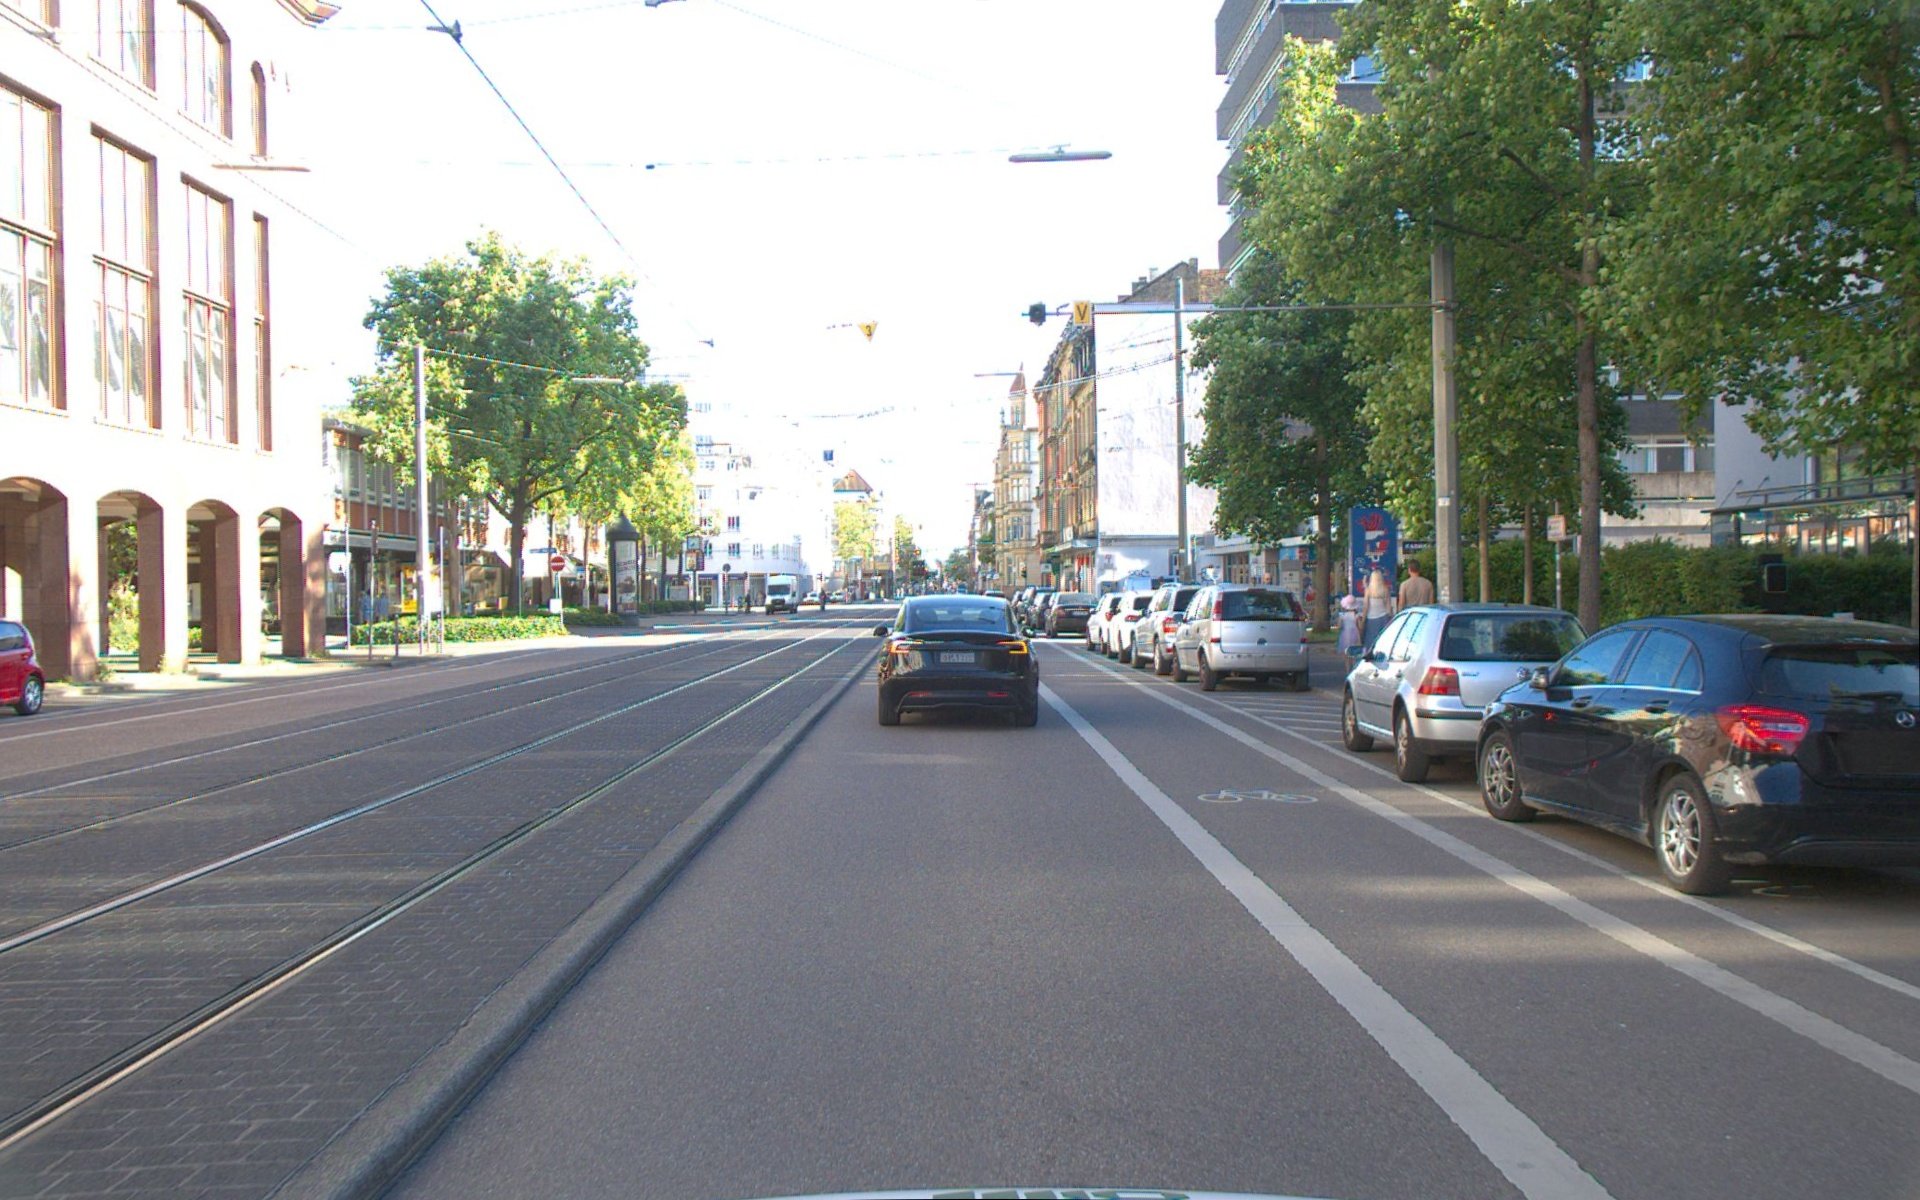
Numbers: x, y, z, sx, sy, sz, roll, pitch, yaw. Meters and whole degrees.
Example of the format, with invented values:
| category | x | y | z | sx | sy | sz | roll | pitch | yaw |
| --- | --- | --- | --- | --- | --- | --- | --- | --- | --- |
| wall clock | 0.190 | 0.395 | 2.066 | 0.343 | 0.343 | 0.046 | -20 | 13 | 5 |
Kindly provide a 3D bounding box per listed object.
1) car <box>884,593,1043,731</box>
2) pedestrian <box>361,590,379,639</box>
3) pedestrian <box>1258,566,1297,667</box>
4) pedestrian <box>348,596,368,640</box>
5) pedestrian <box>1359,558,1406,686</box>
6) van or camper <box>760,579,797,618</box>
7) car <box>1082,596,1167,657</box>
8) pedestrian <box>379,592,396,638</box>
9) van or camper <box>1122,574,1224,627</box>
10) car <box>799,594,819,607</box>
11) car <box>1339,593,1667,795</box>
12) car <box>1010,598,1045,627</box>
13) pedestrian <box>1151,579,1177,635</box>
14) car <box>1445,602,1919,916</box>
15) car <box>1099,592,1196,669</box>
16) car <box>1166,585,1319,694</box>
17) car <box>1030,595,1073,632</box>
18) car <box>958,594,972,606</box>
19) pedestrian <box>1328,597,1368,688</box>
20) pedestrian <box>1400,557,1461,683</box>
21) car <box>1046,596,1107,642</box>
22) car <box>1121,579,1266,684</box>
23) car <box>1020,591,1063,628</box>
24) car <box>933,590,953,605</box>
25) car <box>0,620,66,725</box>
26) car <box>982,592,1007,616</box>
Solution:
| category | x | y | z | sx | sy | sz | roll | pitch | yaw |
| --- | --- | --- | --- | --- | --- | --- | --- | --- | --- |
| car | -0.018 | 0.651 | 19.447 | 1.685 | 1.430 | 3.709 | 0 | 1 | -2 |
| pedestrian | -23.410 | 0.572 | 65.609 | 0.580 | 1.905 | 0.537 | 1 | 0 | -10 |
| pedestrian | 5.921 | 0.310 | 30.871 | 0.598 | 1.839 | 0.603 | -2 | 0 | 4 |
| pedestrian | -25.678 | 0.772 | 70.521 | 0.614 | 1.879 | 0.672 | 1 | 0 | -4 |
| pedestrian | 6.751 | 0.344 | 26.434 | 0.455 | 1.987 | 0.748 | -4 | 0 | 4 |
| van or camper | -13.197 | -0.111 | 120.546 | 2.097 | 2.700 | 6.877 | -2 | 0 | -2 |
| car | 4.184 | 0.649 | 42.536 | 1.570 | 1.469 | 3.882 | 1 | 0 | -3 |
| pedestrian | -22.813 | 0.592 | 65.918 | 0.535 | 1.833 | 0.587 | 1 | 0 | -10 |
| van or camper | 10.027 | 0.040 | 78.140 | 4.547 | 2.173 | 1.988 | -4 | 0 | 3 |
| car | -17.169 | 0.021 | 188.561 | 1.953 | 1.392 | 3.999 | -2 | 0 | -1 |
| car | 4.514 | 0.688 | 14.423 | 1.713 | 1.468 | 4.317 | 0 | 1 | 4 |
| car | 3.593 | 0.642 | 88.572 | 1.680 | 1.498 | 3.719 | -1 | 0 | 0 |
| pedestrian | 6.914 | 0.228 | 56.012 | 0.707 | 1.843 | 0.889 | -1 | 0 | -1 |
| car | 4.545 | 0.770 | 10.033 | 1.766 | 1.460 | 4.322 | 1 | 0 | -2 |
| car | 4.161 | 0.636 | 37.219 | 1.511 | 1.597 | 4.441 | 0 | 0 | -2 |
| car | 4.517 | 0.578 | 27.006 | 1.679 | 1.618 | 4.064 | 0 | 1 | -2 |
| car | 3.693 | 0.543 | 67.409 | 1.431 | 1.457 | 3.812 | 0 | -1 | -1 |
| car | 0.672 | -0.011 | 222.011 | 1.808 | 1.620 | 4.000 | -2 | 0 | 0 |
| pedestrian | 6.200 | 0.676 | 26.463 | 0.446 | 1.422 | 0.423 | -5 | 0 | 4 |
| pedestrian | 7.468 | 0.308 | 26.264 | 0.655 | 1.930 | 0.748 | -4 | 0 | 4 |
| car | 3.915 | 0.624 | 55.985 | 1.676 | 1.482 | 4.549 | 0 | 0 | -1 |
| car | 4.389 | 0.535 | 31.805 | 1.887 | 1.866 | 4.709 | 0 | 1 | -3 |
| car | 3.808 | 0.459 | 77.804 | 1.792 | 1.656 | 4.095 | 0 | -1 | 0 |
| car | -1.855 | -0.263 | 180.627 | 1.954 | 1.552 | 3.996 | 0 | 0 | -5 |
| car | -14.483 | 1.046 | 23.504 | 1.625 | 1.447 | 3.619 | 1 | 0 | -1 |
| car | 2.205 | 0.249 | 106.281 | 1.561 | 1.458 | 3.686 | -1 | 0 | 0 |
